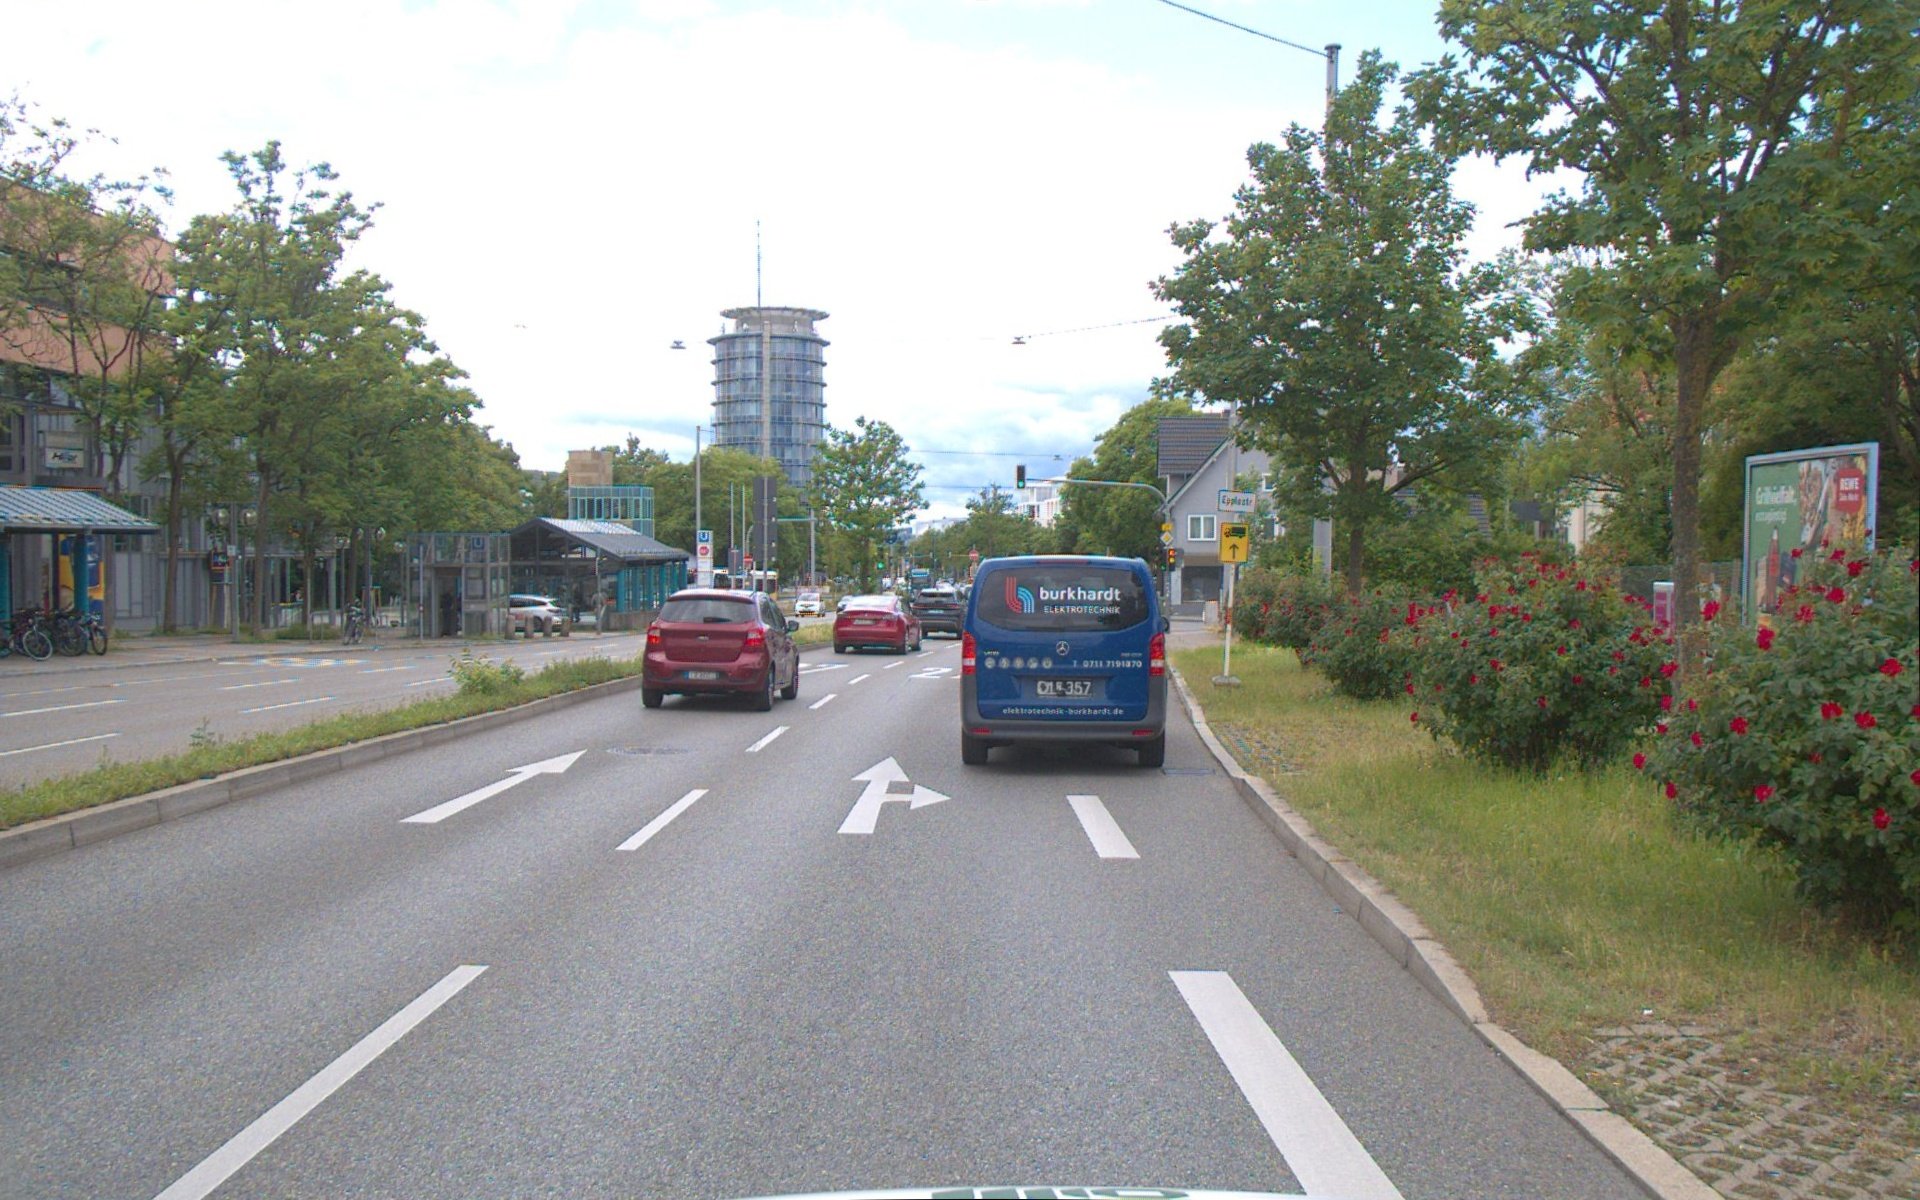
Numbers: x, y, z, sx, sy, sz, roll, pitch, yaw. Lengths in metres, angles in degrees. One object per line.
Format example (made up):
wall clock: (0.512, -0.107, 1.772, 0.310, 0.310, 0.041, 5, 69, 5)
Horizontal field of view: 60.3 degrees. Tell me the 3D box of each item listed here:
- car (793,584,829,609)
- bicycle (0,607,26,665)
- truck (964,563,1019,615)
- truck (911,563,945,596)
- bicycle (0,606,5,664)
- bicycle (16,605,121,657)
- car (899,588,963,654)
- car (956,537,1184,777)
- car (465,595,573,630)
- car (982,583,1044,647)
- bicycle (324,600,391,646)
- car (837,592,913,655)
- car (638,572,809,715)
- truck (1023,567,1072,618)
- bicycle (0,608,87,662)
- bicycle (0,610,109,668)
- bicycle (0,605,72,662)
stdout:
car: (-9.836, -0.229, 109.611, 1.589, 1.601, 4.003, 0, 0, 6)
bicycle: (-20.598, 0.719, 34.235, 2.027, 1.173, 0.710, 2, 0, -11)
truck: (1.465, -0.500, 75.071, 1.951, 2.203, 5.563, 2, 0, 6)
truck: (-3.848, -2.468, 201.343, 3.297, 3.792, 11.284, 1, 0, 3)
bicycle: (-20.393, 0.665, 33.096, 2.027, 1.173, 0.710, 3, 0, -11)
bicycle: (-20.811, 0.718, 38.648, 2.027, 1.173, 0.710, 1, 0, -11)
car: (-1.007, 0.664, 55.584, 1.954, 2.048, 3.998, 1, 1, -3)
car: (1.069, 0.470, 16.208, 1.907, 2.000, 4.543, 1, 0, 4)
car: (-17.935, 0.506, 67.415, 3.907, 1.378, 1.999, 0, 0, -2)
car: (1.548, 0.390, 47.318, 1.710, 1.753, 4.001, 0, 0, 3)
bicycle: (-18.013, 0.663, 49.518, 1.030, 1.293, 2.425, 2, 0, 1)
car: (-2.151, 0.610, 41.816, 1.831, 1.512, 3.997, 0, -1, -3)
car: (-3.097, 0.523, 22.387, 1.710, 1.753, 4.000, 0, 0, 0)
truck: (4.053, -0.347, 75.855, 1.951, 2.203, 5.563, 2, 0, 6)
bicycle: (-20.553, 0.767, 36.628, 2.027, 1.173, 0.710, 0, 0, -11)
bicycle: (-20.596, 0.887, 37.622, 2.027, 1.173, 0.710, 3, -1, -11)
bicycle: (-20.160, 0.708, 35.244, 2.027, 1.173, 0.710, 1, 0, -11)
